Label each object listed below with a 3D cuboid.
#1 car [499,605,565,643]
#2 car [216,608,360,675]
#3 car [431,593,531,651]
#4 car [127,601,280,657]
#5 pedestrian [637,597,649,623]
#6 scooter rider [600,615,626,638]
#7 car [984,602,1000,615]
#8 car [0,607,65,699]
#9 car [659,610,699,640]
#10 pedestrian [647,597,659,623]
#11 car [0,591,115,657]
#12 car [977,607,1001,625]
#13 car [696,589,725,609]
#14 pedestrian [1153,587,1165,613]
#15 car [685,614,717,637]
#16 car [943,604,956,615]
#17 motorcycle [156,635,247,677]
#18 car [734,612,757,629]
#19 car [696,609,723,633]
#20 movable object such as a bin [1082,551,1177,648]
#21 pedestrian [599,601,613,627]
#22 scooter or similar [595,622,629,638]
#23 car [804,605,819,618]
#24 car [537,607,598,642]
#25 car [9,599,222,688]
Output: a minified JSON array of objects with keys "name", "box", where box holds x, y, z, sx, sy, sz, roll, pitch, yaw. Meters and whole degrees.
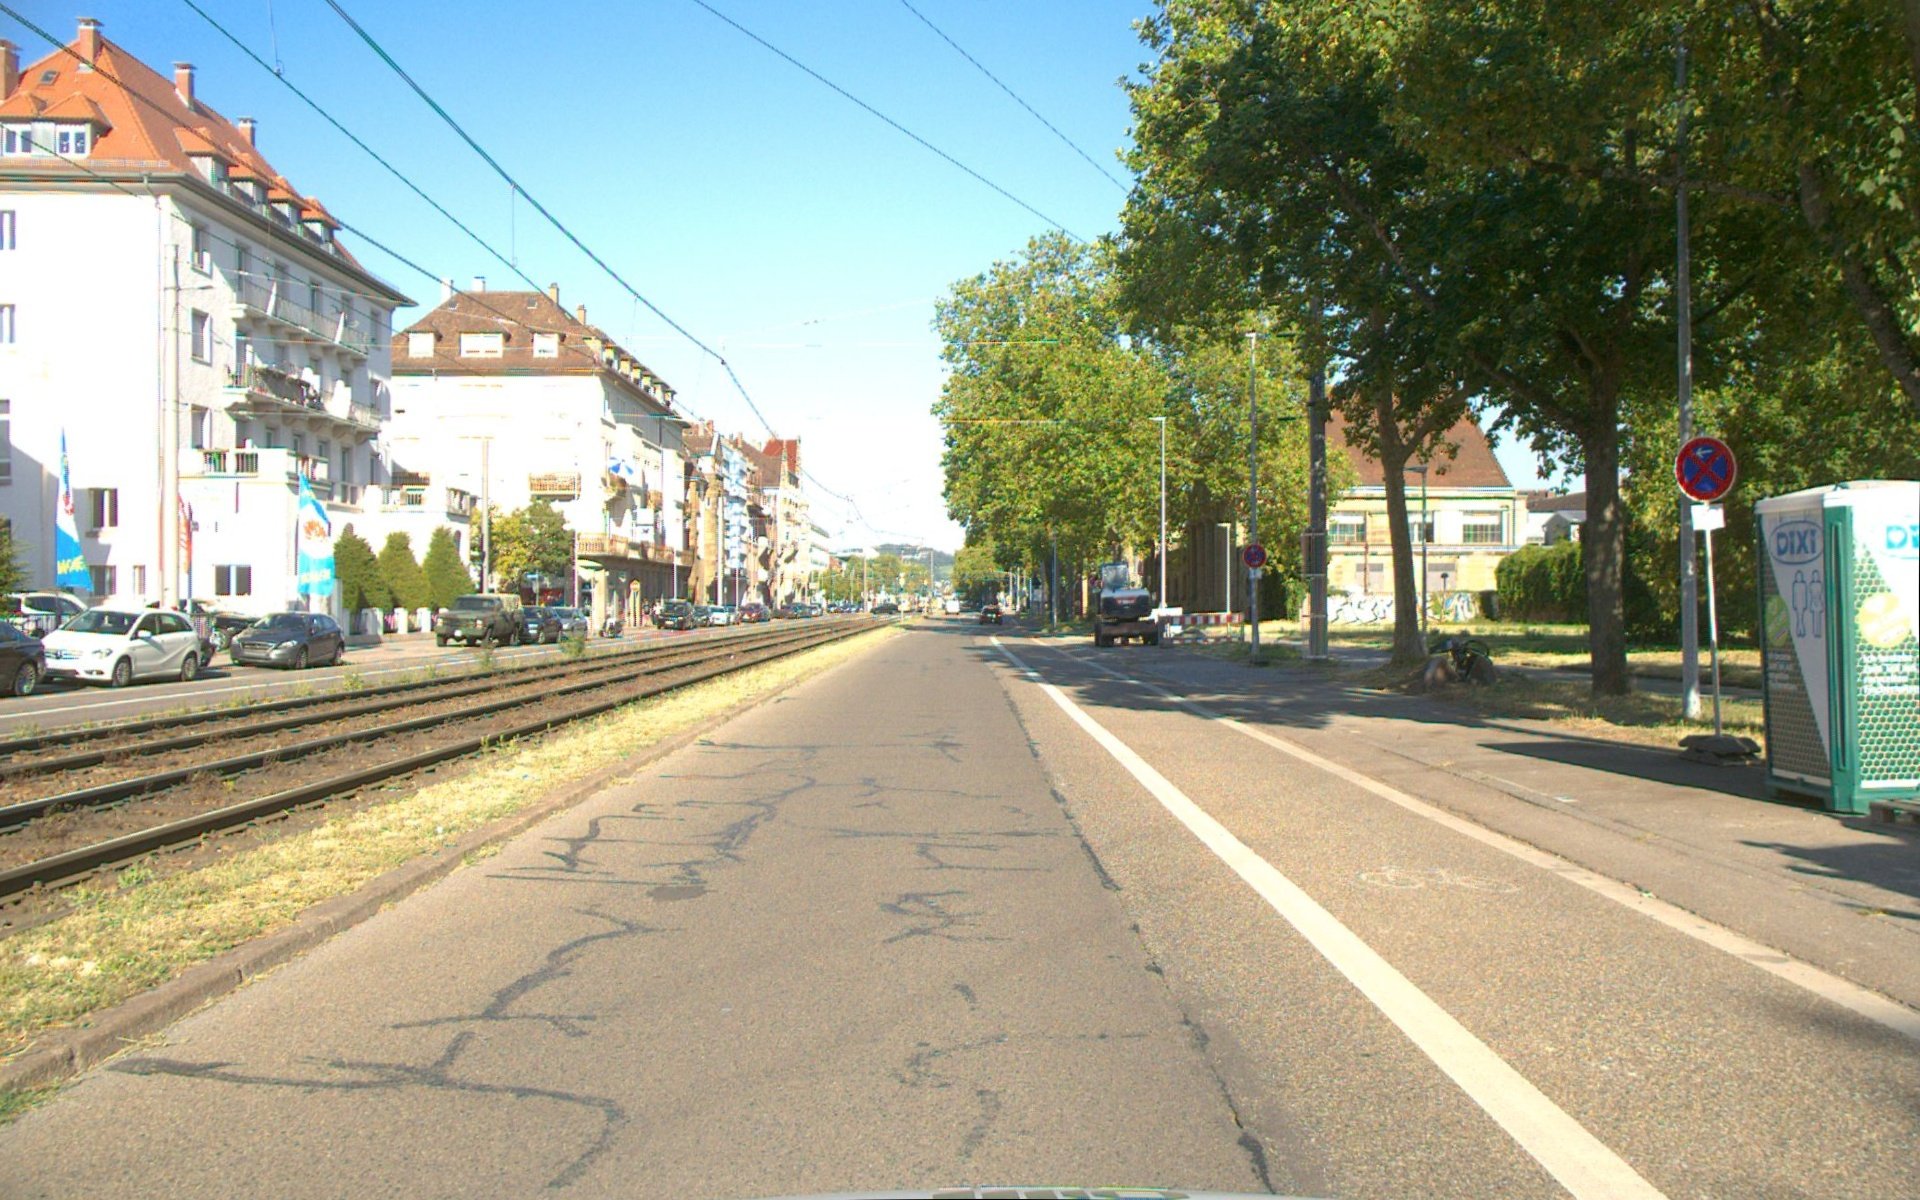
[{"name":"car","box":[-18.067,1.023,69.966,1.601,1.534,4.159,1,-1,2]},{"name":"car","box":[-17.831,1.062,44.150,1.882,1.486,4.840,5,0,-2]},{"name":"car","box":[-18.360,0.823,63.730,2.034,2.045,5.592,2,0,2]},{"name":"car","box":[-24.286,0.915,53.179,4.040,1.662,1.953,-1,2,9]},{"name":"pedestrian","box":[-21.581,0.688,112.449,0.577,1.726,0.857,1,-1,2]},{"name":"scooter rider","box":[-17.324,1.327,82.520,0.958,1.108,0.806,-1,0,31]},{"name":"car","box":[3.678,0.976,190.996,1.758,1.537,3.999,0,0,-1]},{"name":"car","box":[-17.877,0.923,28.729,1.881,1.588,4.843,1,0,2]},{"name":"car","box":[-18.144,1.612,106.970,1.825,1.817,4.400,2,0,-1]},{"name":"pedestrian","box":[-20.892,0.708,112.489,0.577,1.726,0.857,1,-1,2]},{"name":"car","box":[-25.337,0.705,45.254,1.864,1.684,4.563,-1,-2,3]},{"name":"car","box":[2.329,1.301,134.601,1.796,1.415,4.158,0,0,-1]},{"name":"car","box":[-19.931,-0.087,132.153,1.601,1.494,4.159,1,0,0]},{"name":"pedestrian","box":[13.173,0.007,109.657,0.596,1.711,0.636,-4,0,-2]},{"name":"car","box":[-18.379,1.797,117.712,1.602,1.494,4.158,3,0,-1]},{"name":"car","box":[-1.544,1.329,235.624,1.758,1.537,3.999,2,-1,-1]},{"name":"motorcycle","box":[-18.233,1.341,39.822,0.808,0.971,2.153,1,-1,14]},{"name":"car","box":[-18.677,1.762,144.230,1.798,1.415,4.031,3,-1,-5]},{"name":"car","box":[-18.704,1.558,123.424,1.603,1.494,3.982,2,2,-3]},{"name":"movable object such as a bin","box":[6.121,-0.016,60.778,2.688,3.200,7.219,-3,0,1]},{"name":"pedestrian","box":[-22.731,0.906,106.109,0.626,1.690,0.955,1,-1,2]},{"name":"scooter or similar","box":[-17.357,1.509,82.538,1.536,0.784,0.806,-1,0,31]},{"name":"car","box":[-19.031,1.407,211.707,1.759,1.536,3.996,3,0,-5]},{"name":"car","box":[-17.938,1.122,75.724,1.757,1.537,4.000,2,-1,1]},{"name":"car","box":[-17.813,0.859,35.186,1.881,1.724,4.843,1,0,2]}]
